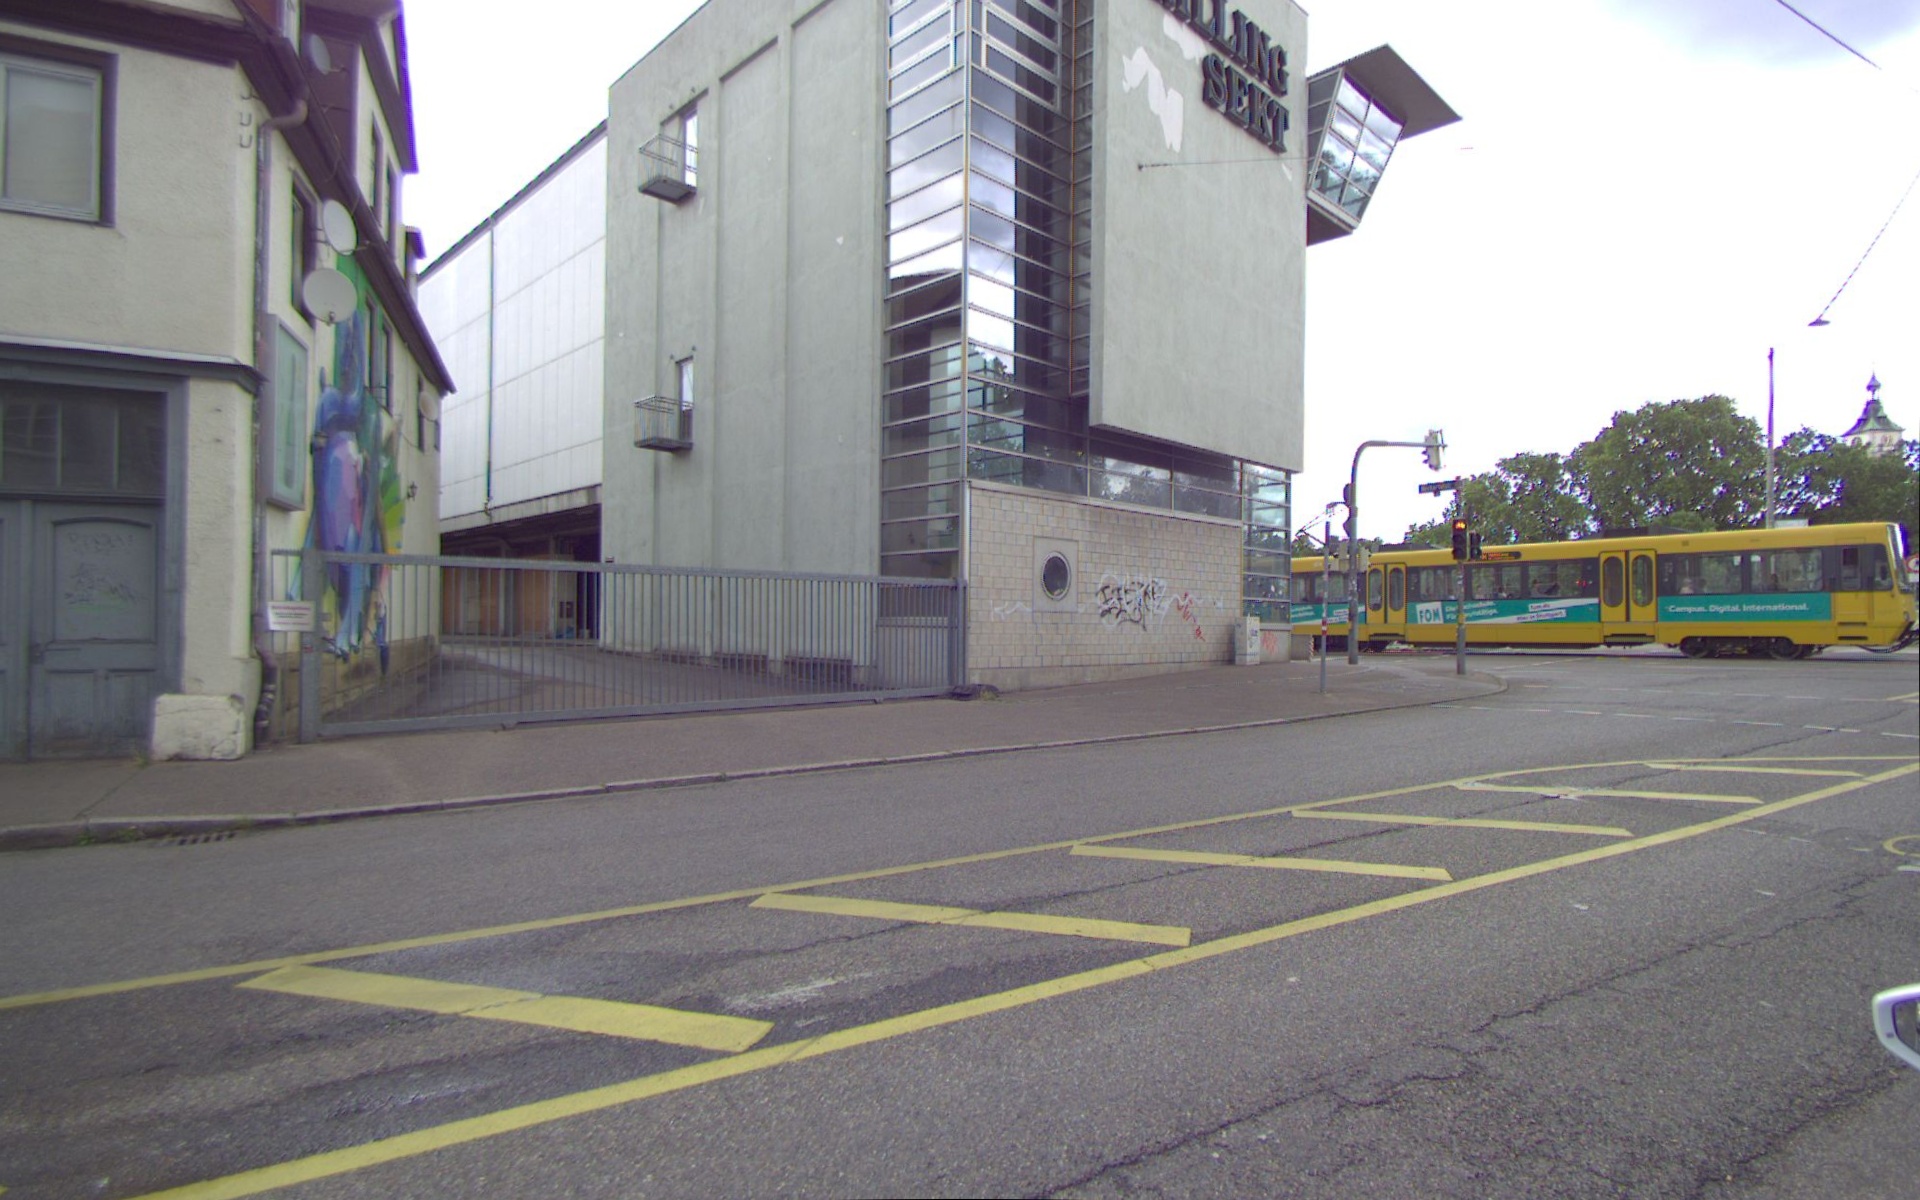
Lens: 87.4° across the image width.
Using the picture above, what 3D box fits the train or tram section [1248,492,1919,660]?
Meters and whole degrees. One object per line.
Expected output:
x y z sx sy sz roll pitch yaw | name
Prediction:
18.330 -0.339 32.274 3.240 4.056 18.606 -2 0 -41 | train or tram section
